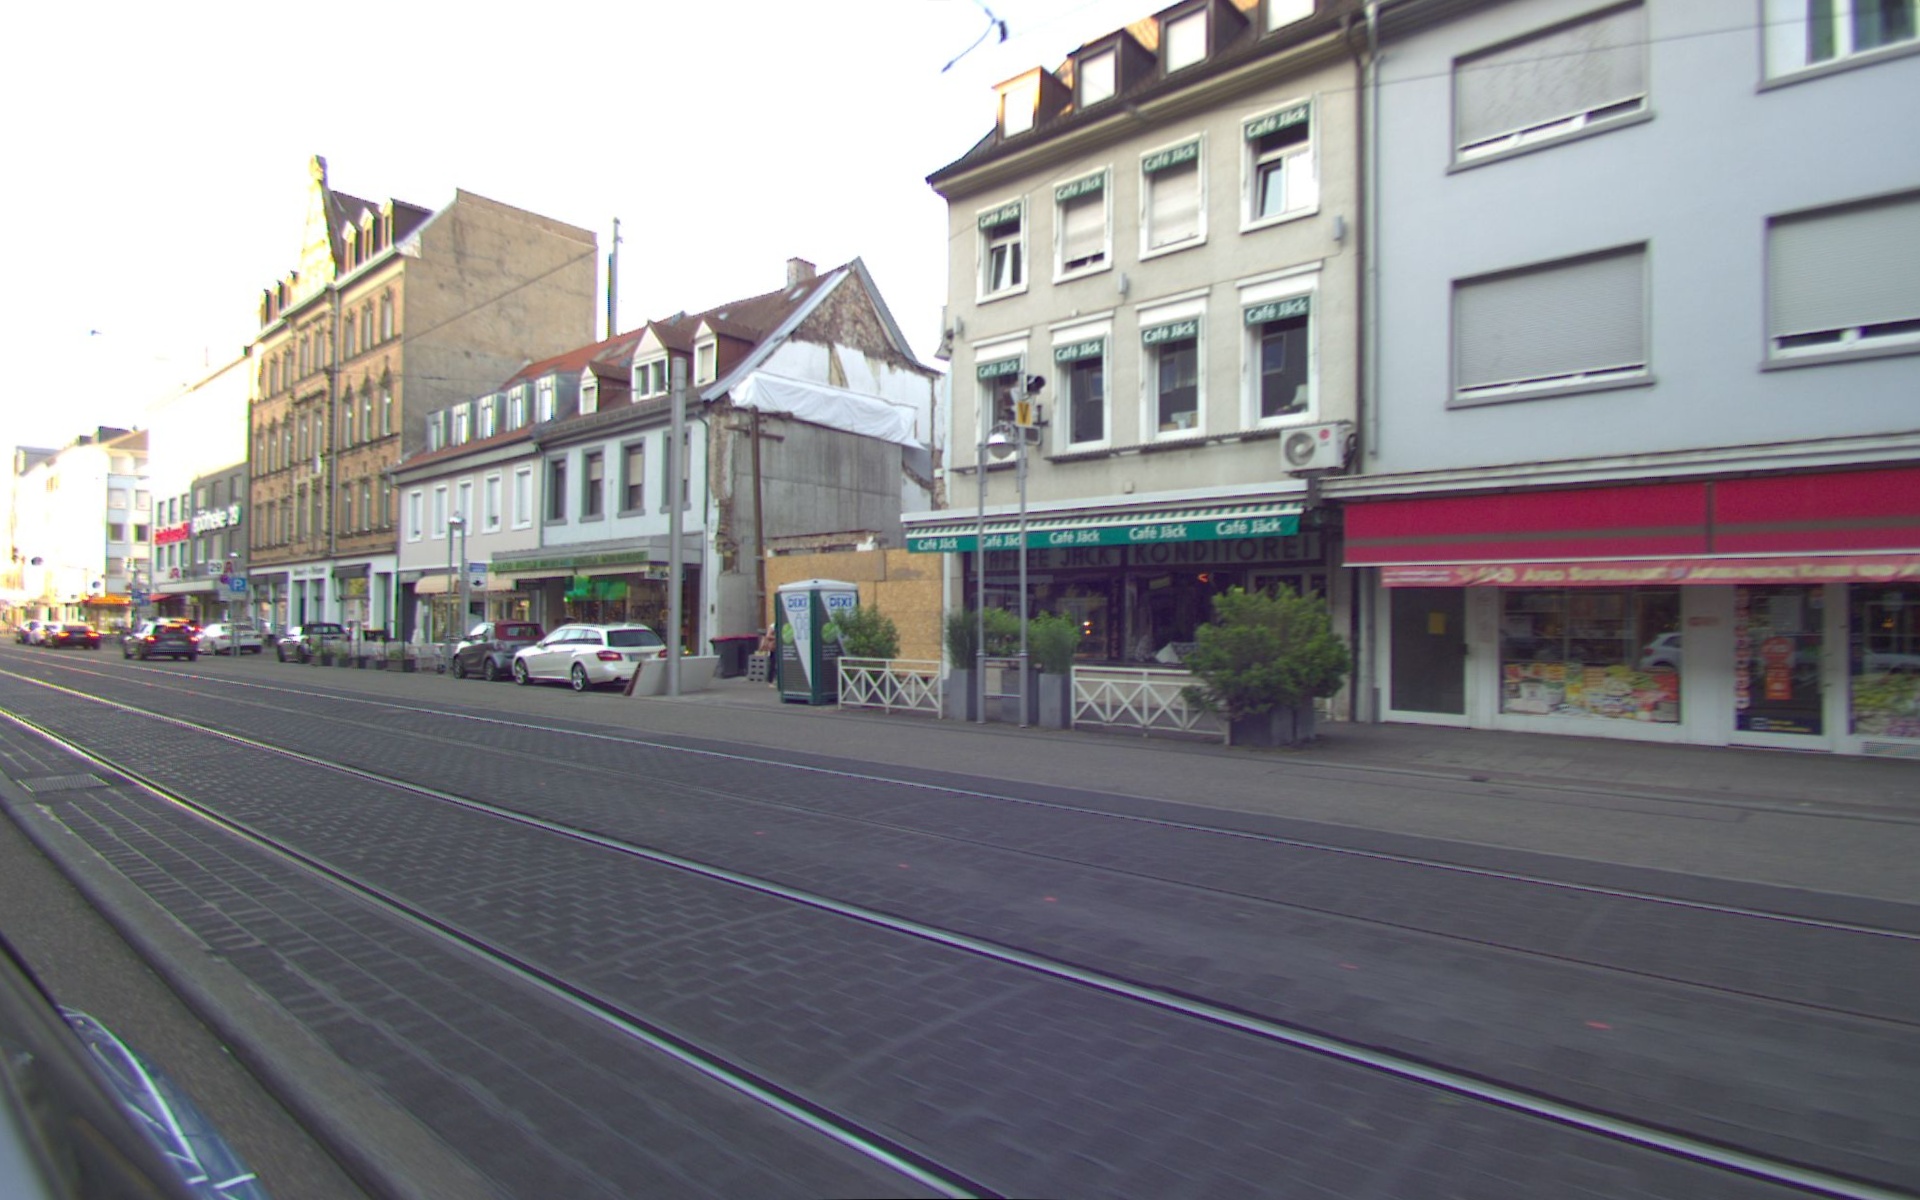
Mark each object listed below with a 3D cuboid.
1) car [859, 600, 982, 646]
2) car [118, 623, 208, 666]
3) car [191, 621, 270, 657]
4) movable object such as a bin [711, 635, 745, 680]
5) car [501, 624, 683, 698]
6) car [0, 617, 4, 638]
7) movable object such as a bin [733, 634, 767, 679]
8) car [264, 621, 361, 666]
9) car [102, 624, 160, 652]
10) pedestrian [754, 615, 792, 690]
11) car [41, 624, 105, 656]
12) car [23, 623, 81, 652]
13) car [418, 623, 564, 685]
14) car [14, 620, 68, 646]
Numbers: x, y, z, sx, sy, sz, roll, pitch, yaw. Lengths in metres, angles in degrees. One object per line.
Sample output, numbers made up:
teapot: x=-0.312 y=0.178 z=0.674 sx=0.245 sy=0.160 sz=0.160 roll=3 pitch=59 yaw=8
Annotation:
car: x=-1.459 y=0.829 z=36.244 sx=4.432 sy=1.523 sz=1.792 roll=-1 pitch=-2 yaw=43
car: x=-30.335 y=1.652 z=38.473 sx=3.998 sy=1.564 sz=1.973 roll=-1 pitch=-2 yaw=41
car: x=-32.914 y=1.724 z=45.597 sx=4.204 sy=1.564 sz=1.973 roll=-1 pitch=-2 yaw=41
movable object such as a bin: x=-5.953 y=1.453 z=25.932 sx=0.615 sy=1.130 sz=0.611 roll=-2 pitch=-2 yaw=45
car: x=-8.753 y=1.351 z=23.852 sx=4.877 sy=1.556 sz=1.972 roll=-1 pitch=-1 yaw=42
car: x=-96.054 y=2.679 z=99.971 sx=3.998 sy=2.051 sz=1.973 roll=-1 pitch=-2 yaw=41
movable object such as a bin: x=-5.473 y=1.462 z=26.376 sx=0.615 sy=1.130 sz=0.611 roll=-2 pitch=-2 yaw=45
car: x=-24.068 y=1.574 z=37.572 sx=3.998 sy=1.564 sz=1.973 roll=-1 pitch=-2 yaw=41
car: x=-48.712 y=2.221 z=59.454 sx=3.998 sy=1.564 sz=1.973 roll=-1 pitch=-2 yaw=41
pedestrian: x=-4.200 y=1.163 z=22.765 sx=0.615 sy=1.647 sz=0.592 roll=-2 pitch=-2 yaw=45
car: x=-46.116 y=2.043 z=52.590 sx=3.998 sy=1.564 sz=1.973 roll=-1 pitch=-2 yaw=41
car: x=-51.550 y=2.102 z=57.457 sx=3.998 sy=1.564 sz=1.973 roll=-1 pitch=-2 yaw=41
car: x=-12.744 y=1.400 z=27.379 sx=4.550 sy=1.556 sz=1.889 roll=-1 pitch=-2 yaw=41
car: x=-56.186 y=2.000 z=61.844 sx=3.998 sy=1.564 sz=1.973 roll=-1 pitch=-2 yaw=41
